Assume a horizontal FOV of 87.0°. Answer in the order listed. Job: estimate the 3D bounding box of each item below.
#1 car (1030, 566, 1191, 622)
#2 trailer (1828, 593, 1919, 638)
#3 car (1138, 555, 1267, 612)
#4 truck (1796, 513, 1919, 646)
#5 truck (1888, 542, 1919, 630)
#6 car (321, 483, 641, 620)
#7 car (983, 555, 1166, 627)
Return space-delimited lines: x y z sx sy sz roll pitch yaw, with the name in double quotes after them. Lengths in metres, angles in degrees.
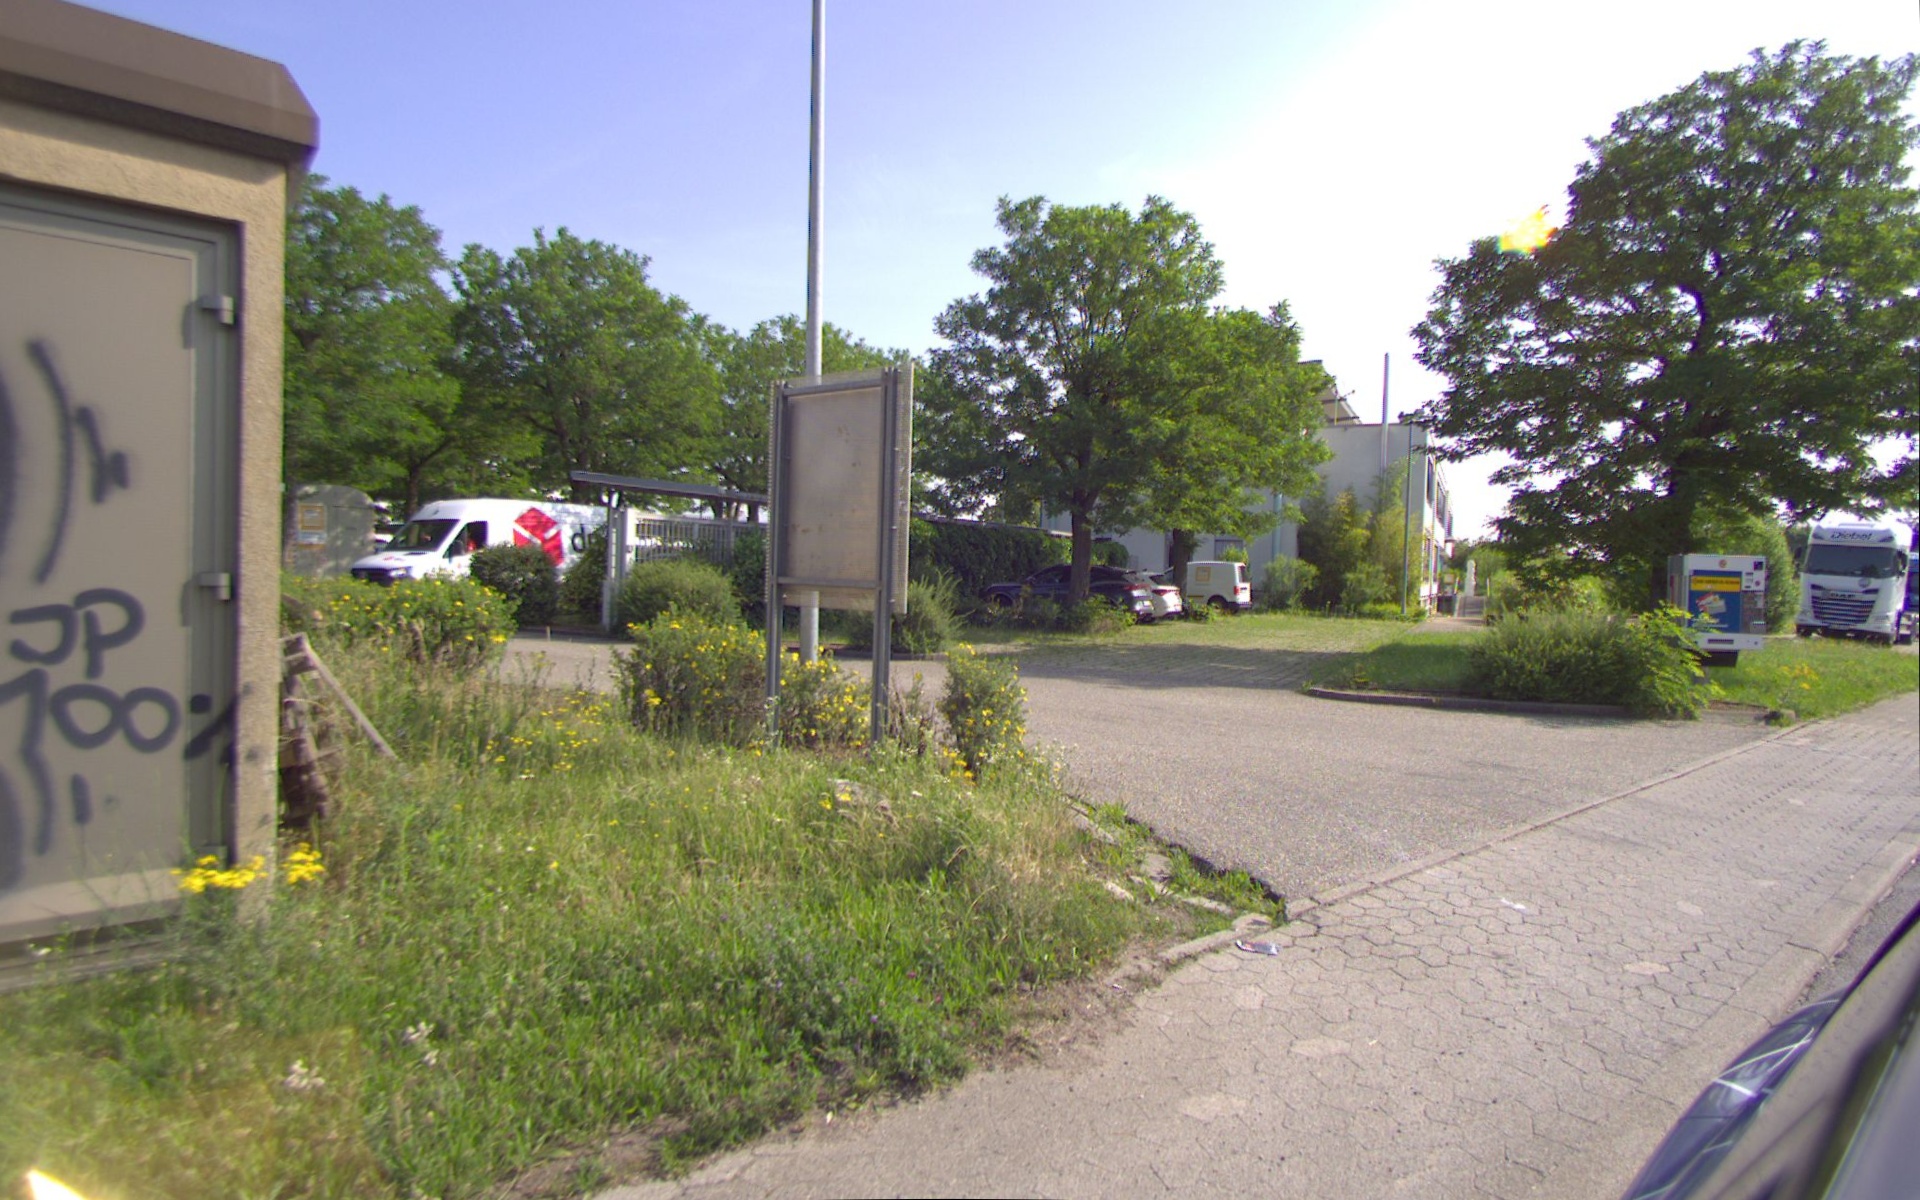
4.055 -0.216 27.475 4.008 1.423 1.724 1 2 30 "car"
37.236 0.531 39.838 13.887 1.408 2.552 0 3 -41 "trailer"
8.250 -0.588 34.481 3.884 1.772 1.733 3 2 32 "car"
31.455 -0.695 34.773 8.430 4.029 2.559 0 4 -41 "truck"
47.926 -0.585 49.103 10.394 3.988 3.042 1 2 -42 "truck"
-10.546 -1.077 23.149 2.197 2.640 6.837 3 2 24 "car"
2.749 -0.261 24.527 4.009 1.481 1.781 4 2 30 "car"
